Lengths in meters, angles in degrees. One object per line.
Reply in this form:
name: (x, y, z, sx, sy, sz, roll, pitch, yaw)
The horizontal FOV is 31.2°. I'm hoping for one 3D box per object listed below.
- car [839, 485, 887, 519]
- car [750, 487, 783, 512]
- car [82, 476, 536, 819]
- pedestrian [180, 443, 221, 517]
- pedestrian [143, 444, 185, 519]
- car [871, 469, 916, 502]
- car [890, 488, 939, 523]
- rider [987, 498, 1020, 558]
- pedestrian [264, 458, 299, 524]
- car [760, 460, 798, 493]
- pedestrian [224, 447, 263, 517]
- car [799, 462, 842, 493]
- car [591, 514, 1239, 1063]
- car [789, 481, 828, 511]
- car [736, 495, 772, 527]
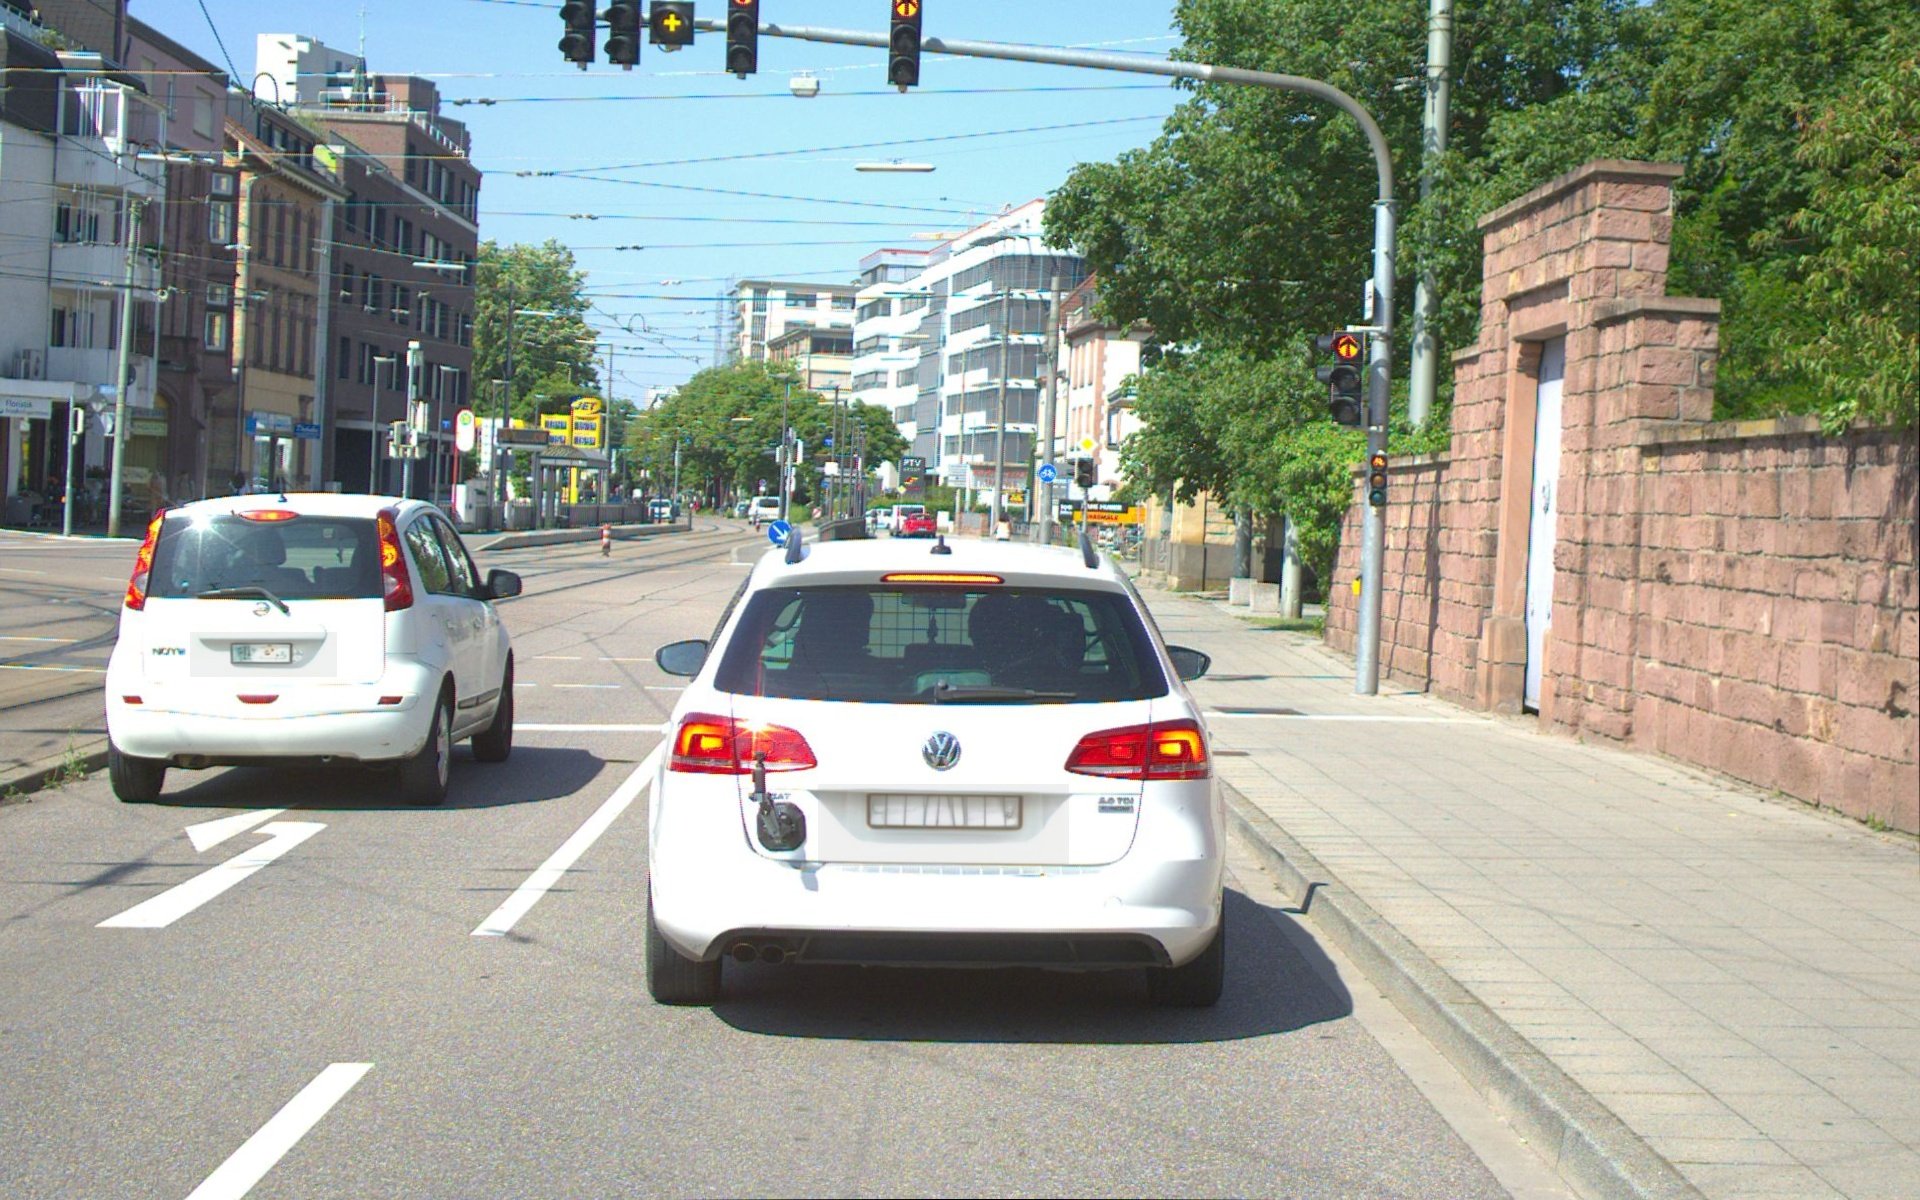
car: (-5.908, -5.975, 209.492, 1.993, 1.897, 4.002, 2, 2, -15)
car: (-12.947, -6.729, 229.440, 1.698, 1.585, 3.536, 2, 2, -11)
car: (-3.373, 0.160, 18.502, 1.730, 1.590, 4.012, 1, 2, -1)
pedestrian: (-21.103, -3.325, 95.584, 0.936, 2.006, 0.991, 2, 2, -6)
pedestrian: (-22.050, -3.286, 95.282, 0.936, 2.006, 0.991, 2, 1, -5)
car: (-4.318, -7.397, 221.951, 1.993, 2.006, 4.002, 2, 2, -14)
car: (-2.751, -5.721, 207.627, 1.993, 2.006, 4.002, 2, 2, -14)
rider: (1.282, -2.139, 101.299, 0.891, 1.722, 2.204, 2, 2, 0)
pedestrian: (-21.035, -3.374, 106.593, 0.936, 2.006, 0.991, 2, 1, -6)
car: (-13.716, -9.355, 260.058, 1.993, 2.448, 4.150, 2, 2, -14)
pedestrian: (-21.057, -3.459, 101.066, 0.936, 2.006, 0.991, 2, 2, -5)
car: (-9.865, -8.686, 243.375, 1.993, 2.006, 4.002, 4, 1, -16)
car: (-0.086, 0.475, 11.447, 1.779, 1.485, 3.847, 1, 2, 1)
car: (-10.943, -7.498, 247.952, 1.993, 2.006, 4.002, 2, 2, -14)
car: (-10.808, -4.691, 180.804, 1.698, 1.585, 3.535, 2, 2, -2)
